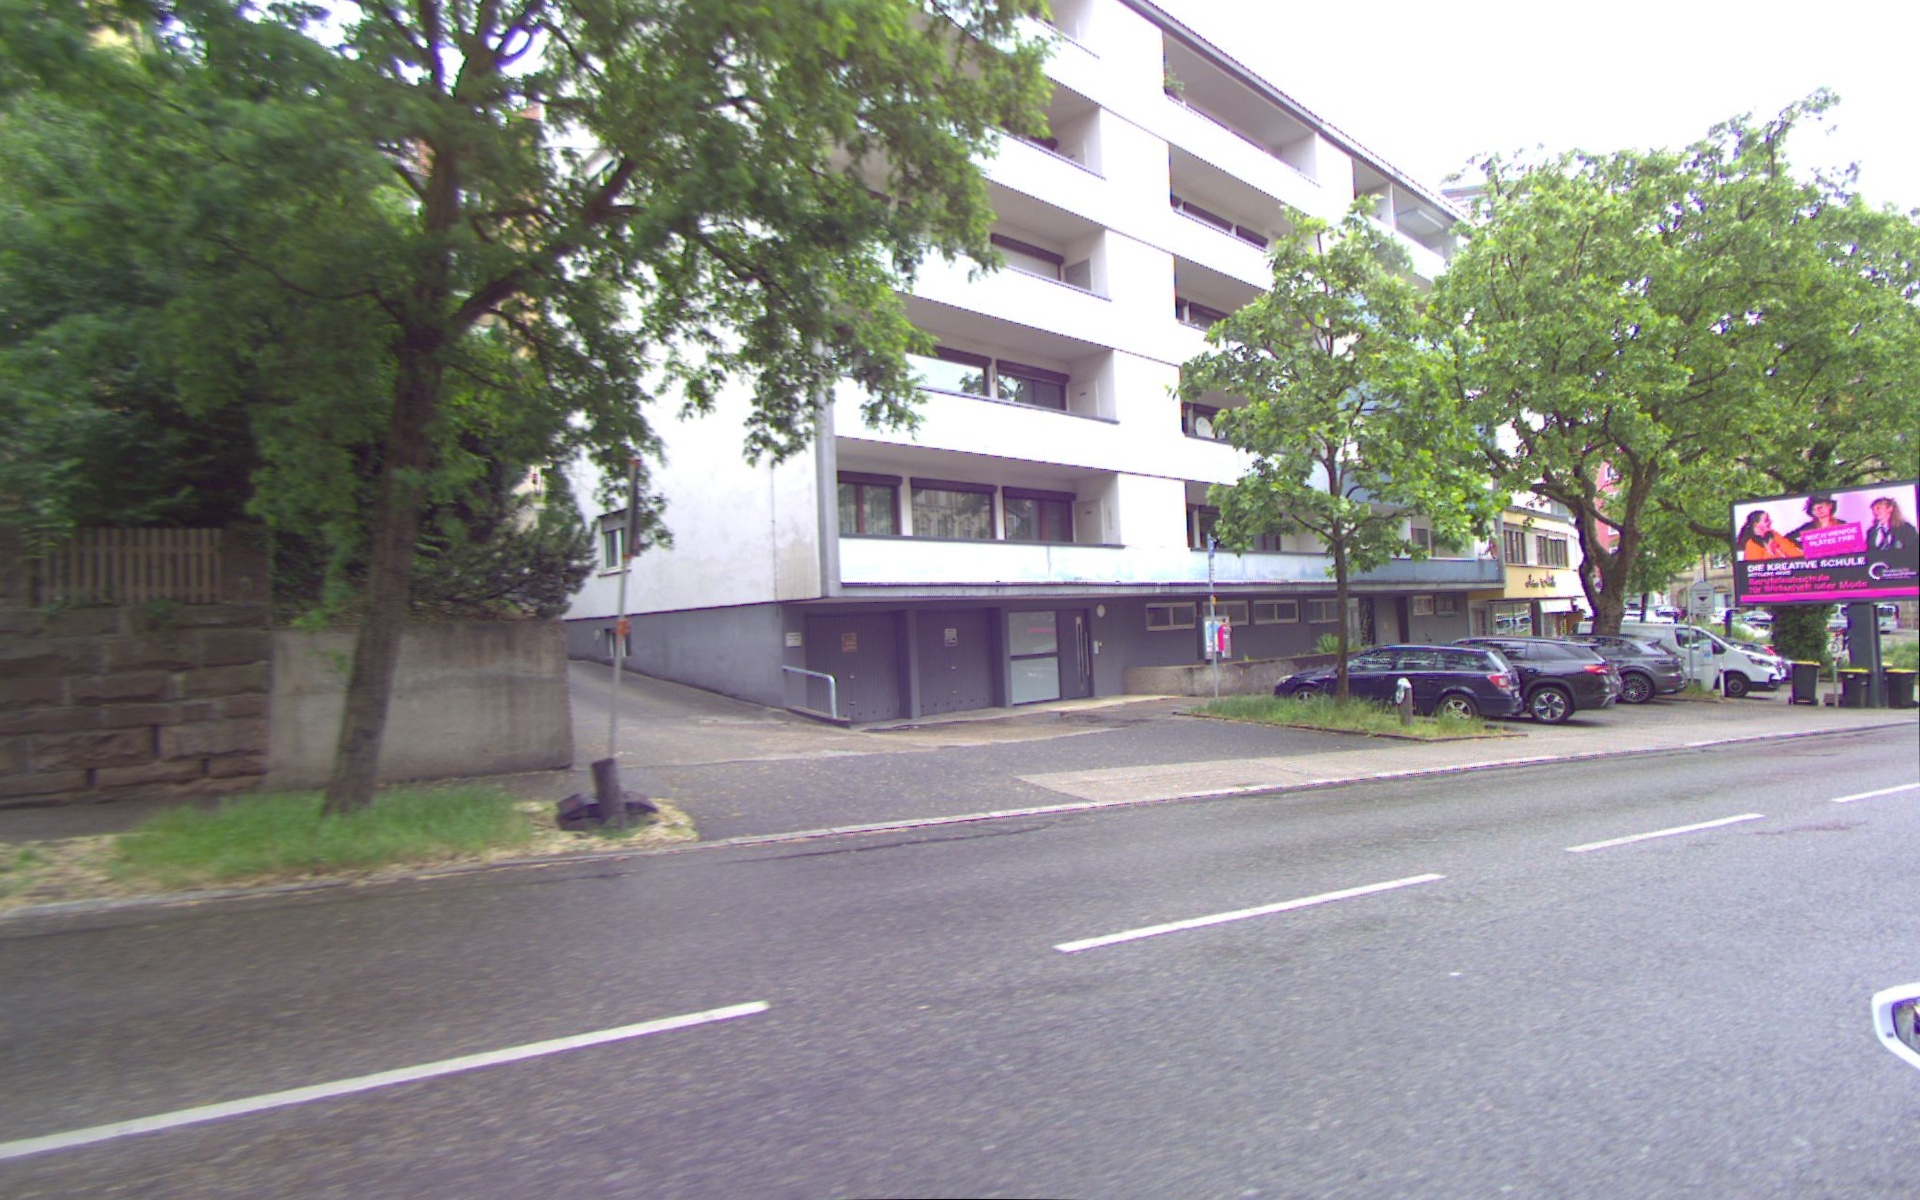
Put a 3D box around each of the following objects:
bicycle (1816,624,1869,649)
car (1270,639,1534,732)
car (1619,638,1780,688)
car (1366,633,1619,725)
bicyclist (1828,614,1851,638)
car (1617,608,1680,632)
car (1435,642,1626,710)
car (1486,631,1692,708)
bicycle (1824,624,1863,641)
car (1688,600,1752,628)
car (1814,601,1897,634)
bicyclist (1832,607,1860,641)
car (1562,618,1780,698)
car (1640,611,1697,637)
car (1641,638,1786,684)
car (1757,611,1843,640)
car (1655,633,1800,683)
[{"bbox_3d":[47.777,1.980,54.395,2.231,1.337,0.673,-1,-3,-1],"label":"bicycle"},{"bbox_3d":[8.410,1.571,19.304,4.303,1.595,1.935,-2,-3,38],"label":"car"},{"bbox_3d":[24.069,2.005,32.763,4.122,1.475,1.786,-1,-2,40],"label":"car"},{"bbox_3d":[10.840,1.557,20.595,4.312,1.694,1.848,-2,-3,38],"label":"car"},{"bbox_3d":[47.696,1.405,54.489,0.675,1.290,0.571,2,0,7],"label":"bicyclist"},{"bbox_3d":[53.329,1.536,77.910,1.961,1.749,4.249,-2,-1,0],"label":"car"},{"bbox_3d":[13.747,1.772,24.287,3.870,1.449,1.742,-1,-2,36],"label":"car"},{"bbox_3d":[16.193,1.720,25.955,4.305,1.807,1.931,-1,-2,40],"label":"car"},{"bbox_3d":[47.903,1.771,54.466,1.491,0.870,0.575,2,0,7],"label":"bicycle"},{"bbox_3d":[62.033,1.097,82.060,1.961,2.130,4.291,0,1,-1],"label":"car"},{"bbox_3d":[62.323,1.182,70.009,1.961,2.130,4.291,0,1,-1],"label":"car"},{"bbox_3d":[47.955,1.306,54.371,0.755,1.844,0.785,0,-3,-1],"label":"bicyclist"},{"bbox_3d":[20.407,1.600,28.967,5.000,2.133,1.983,-1,-2,40],"label":"car"},{"bbox_3d":[61.635,2.053,87.466,1.961,2.130,4.291,0,1,-1],"label":"car"},{"bbox_3d":[25.958,2.063,34.671,3.925,1.469,1.761,-1,-2,40],"label":"car"},{"bbox_3d":[53.374,1.602,63.941,1.960,1.749,4.250,-1,0,1],"label":"car"},{"bbox_3d":[27.682,2.068,36.358,4.071,1.675,1.762,-1,-2,38],"label":"car"}]
